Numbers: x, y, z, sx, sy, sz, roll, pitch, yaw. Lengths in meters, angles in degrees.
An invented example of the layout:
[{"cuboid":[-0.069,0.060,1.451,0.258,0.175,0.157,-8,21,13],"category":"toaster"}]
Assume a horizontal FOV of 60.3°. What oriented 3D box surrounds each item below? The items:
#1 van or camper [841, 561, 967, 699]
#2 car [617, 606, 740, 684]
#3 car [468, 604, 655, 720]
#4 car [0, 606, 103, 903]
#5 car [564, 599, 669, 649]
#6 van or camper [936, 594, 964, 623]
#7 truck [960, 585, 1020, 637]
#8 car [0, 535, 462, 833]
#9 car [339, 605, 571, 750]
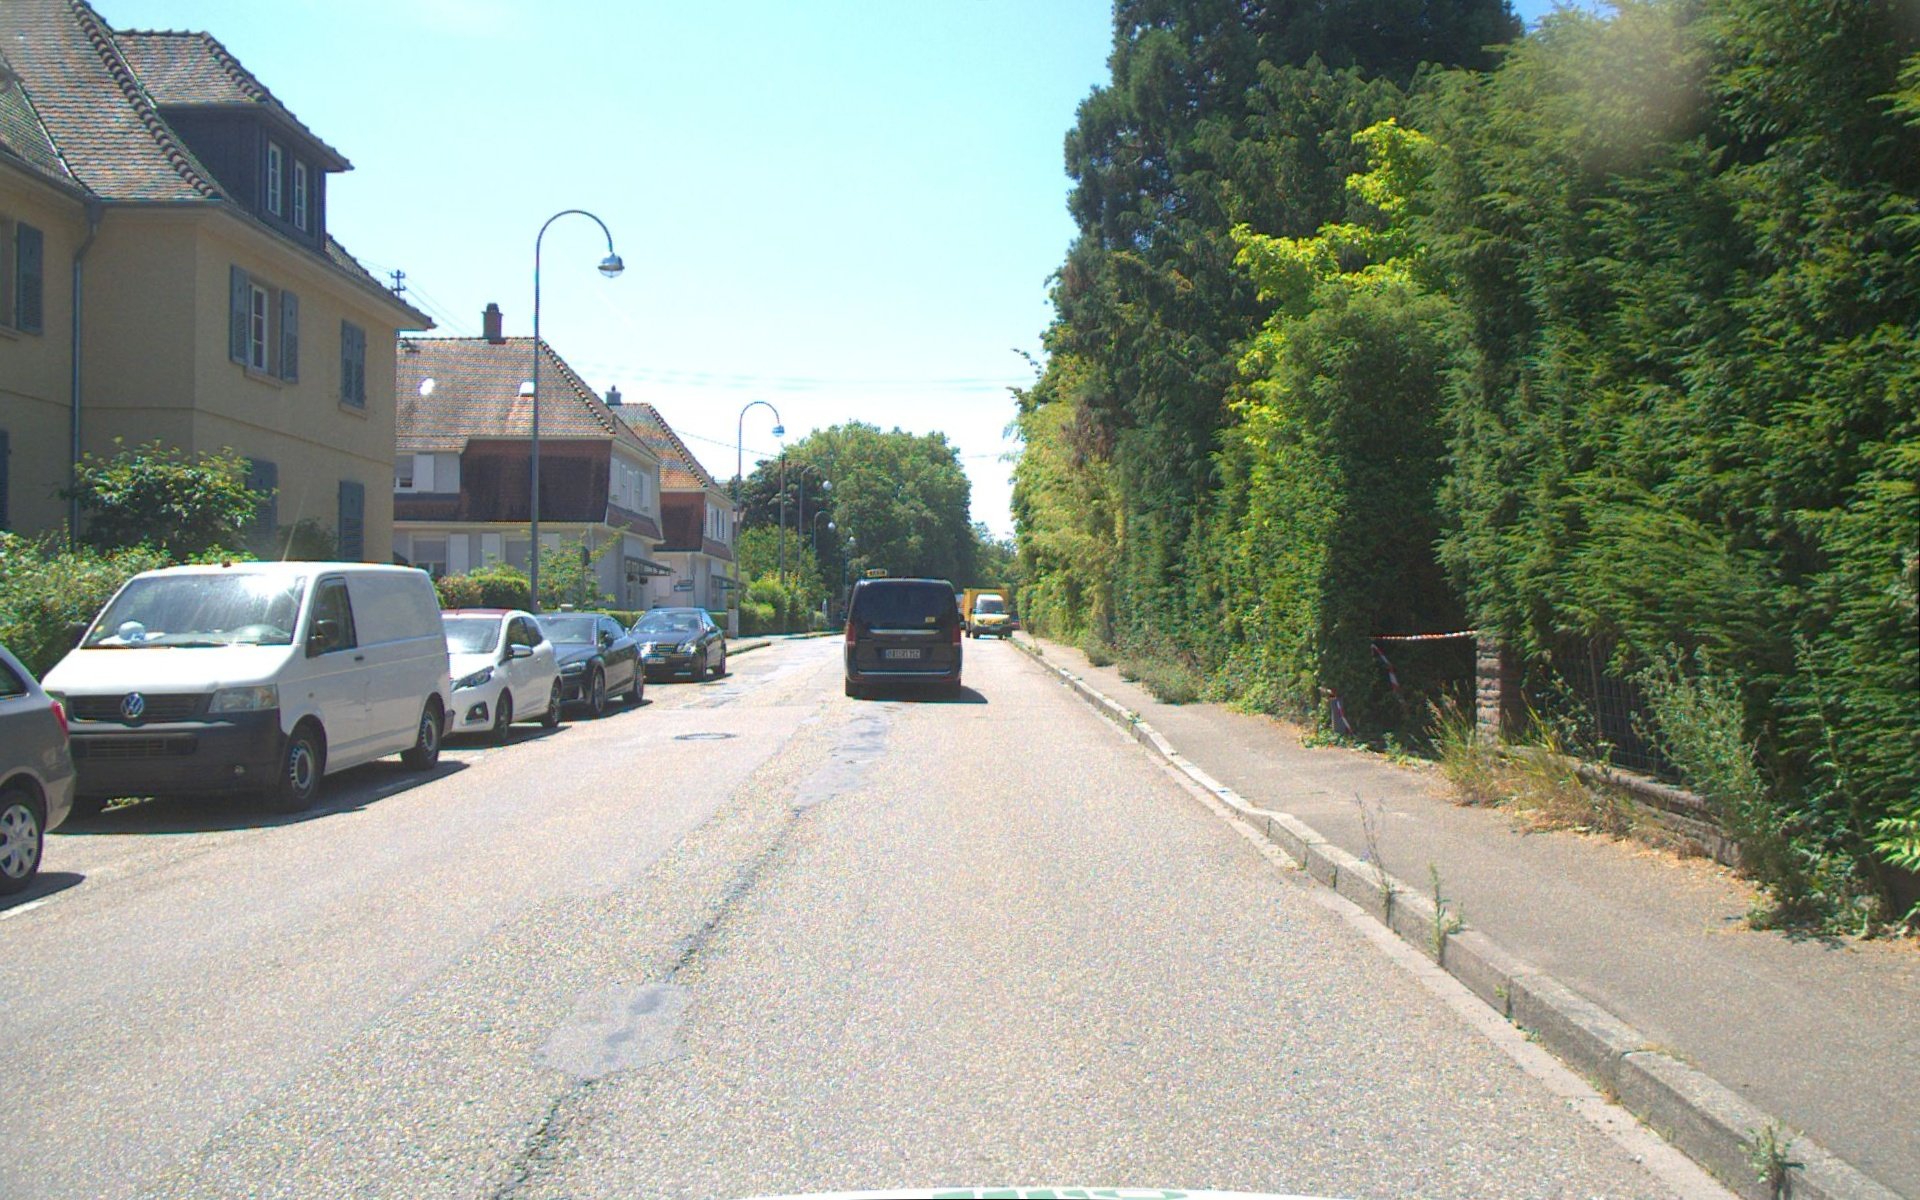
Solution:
[{"cuboid":[-0.832,0.480,27.631,1.864,2.049,5.269,1,-1,0],"category":"van or camper"},{"cuboid":[-5.544,0.844,33.083,1.632,1.410,4.380,-2,0,0],"category":"car"},{"cuboid":[-5.666,0.823,24.061,1.632,1.519,4.465,0,0,0],"category":"car"},{"cuboid":[-5.876,0.842,7.662,1.652,1.552,4.062,-2,0,0],"category":"car"},{"cuboid":[-13.760,0.945,66.384,3.788,1.938,1.879,-1,0,-1],"category":"car"},{"cuboid":[-0.696,0.603,117.011,1.953,2.049,4.000,0,-1,0],"category":"van or camper"},{"cuboid":[1.330,0.516,76.474,2.309,2.298,6.087,0,-1,-4],"category":"truck"},{"cuboid":[-5.804,0.586,13.833,1.840,1.997,4.625,-2,0,-1],"category":"car"},{"cuboid":[-5.790,0.827,19.352,1.632,1.519,3.478,-1,0,0],"category":"car"}]
